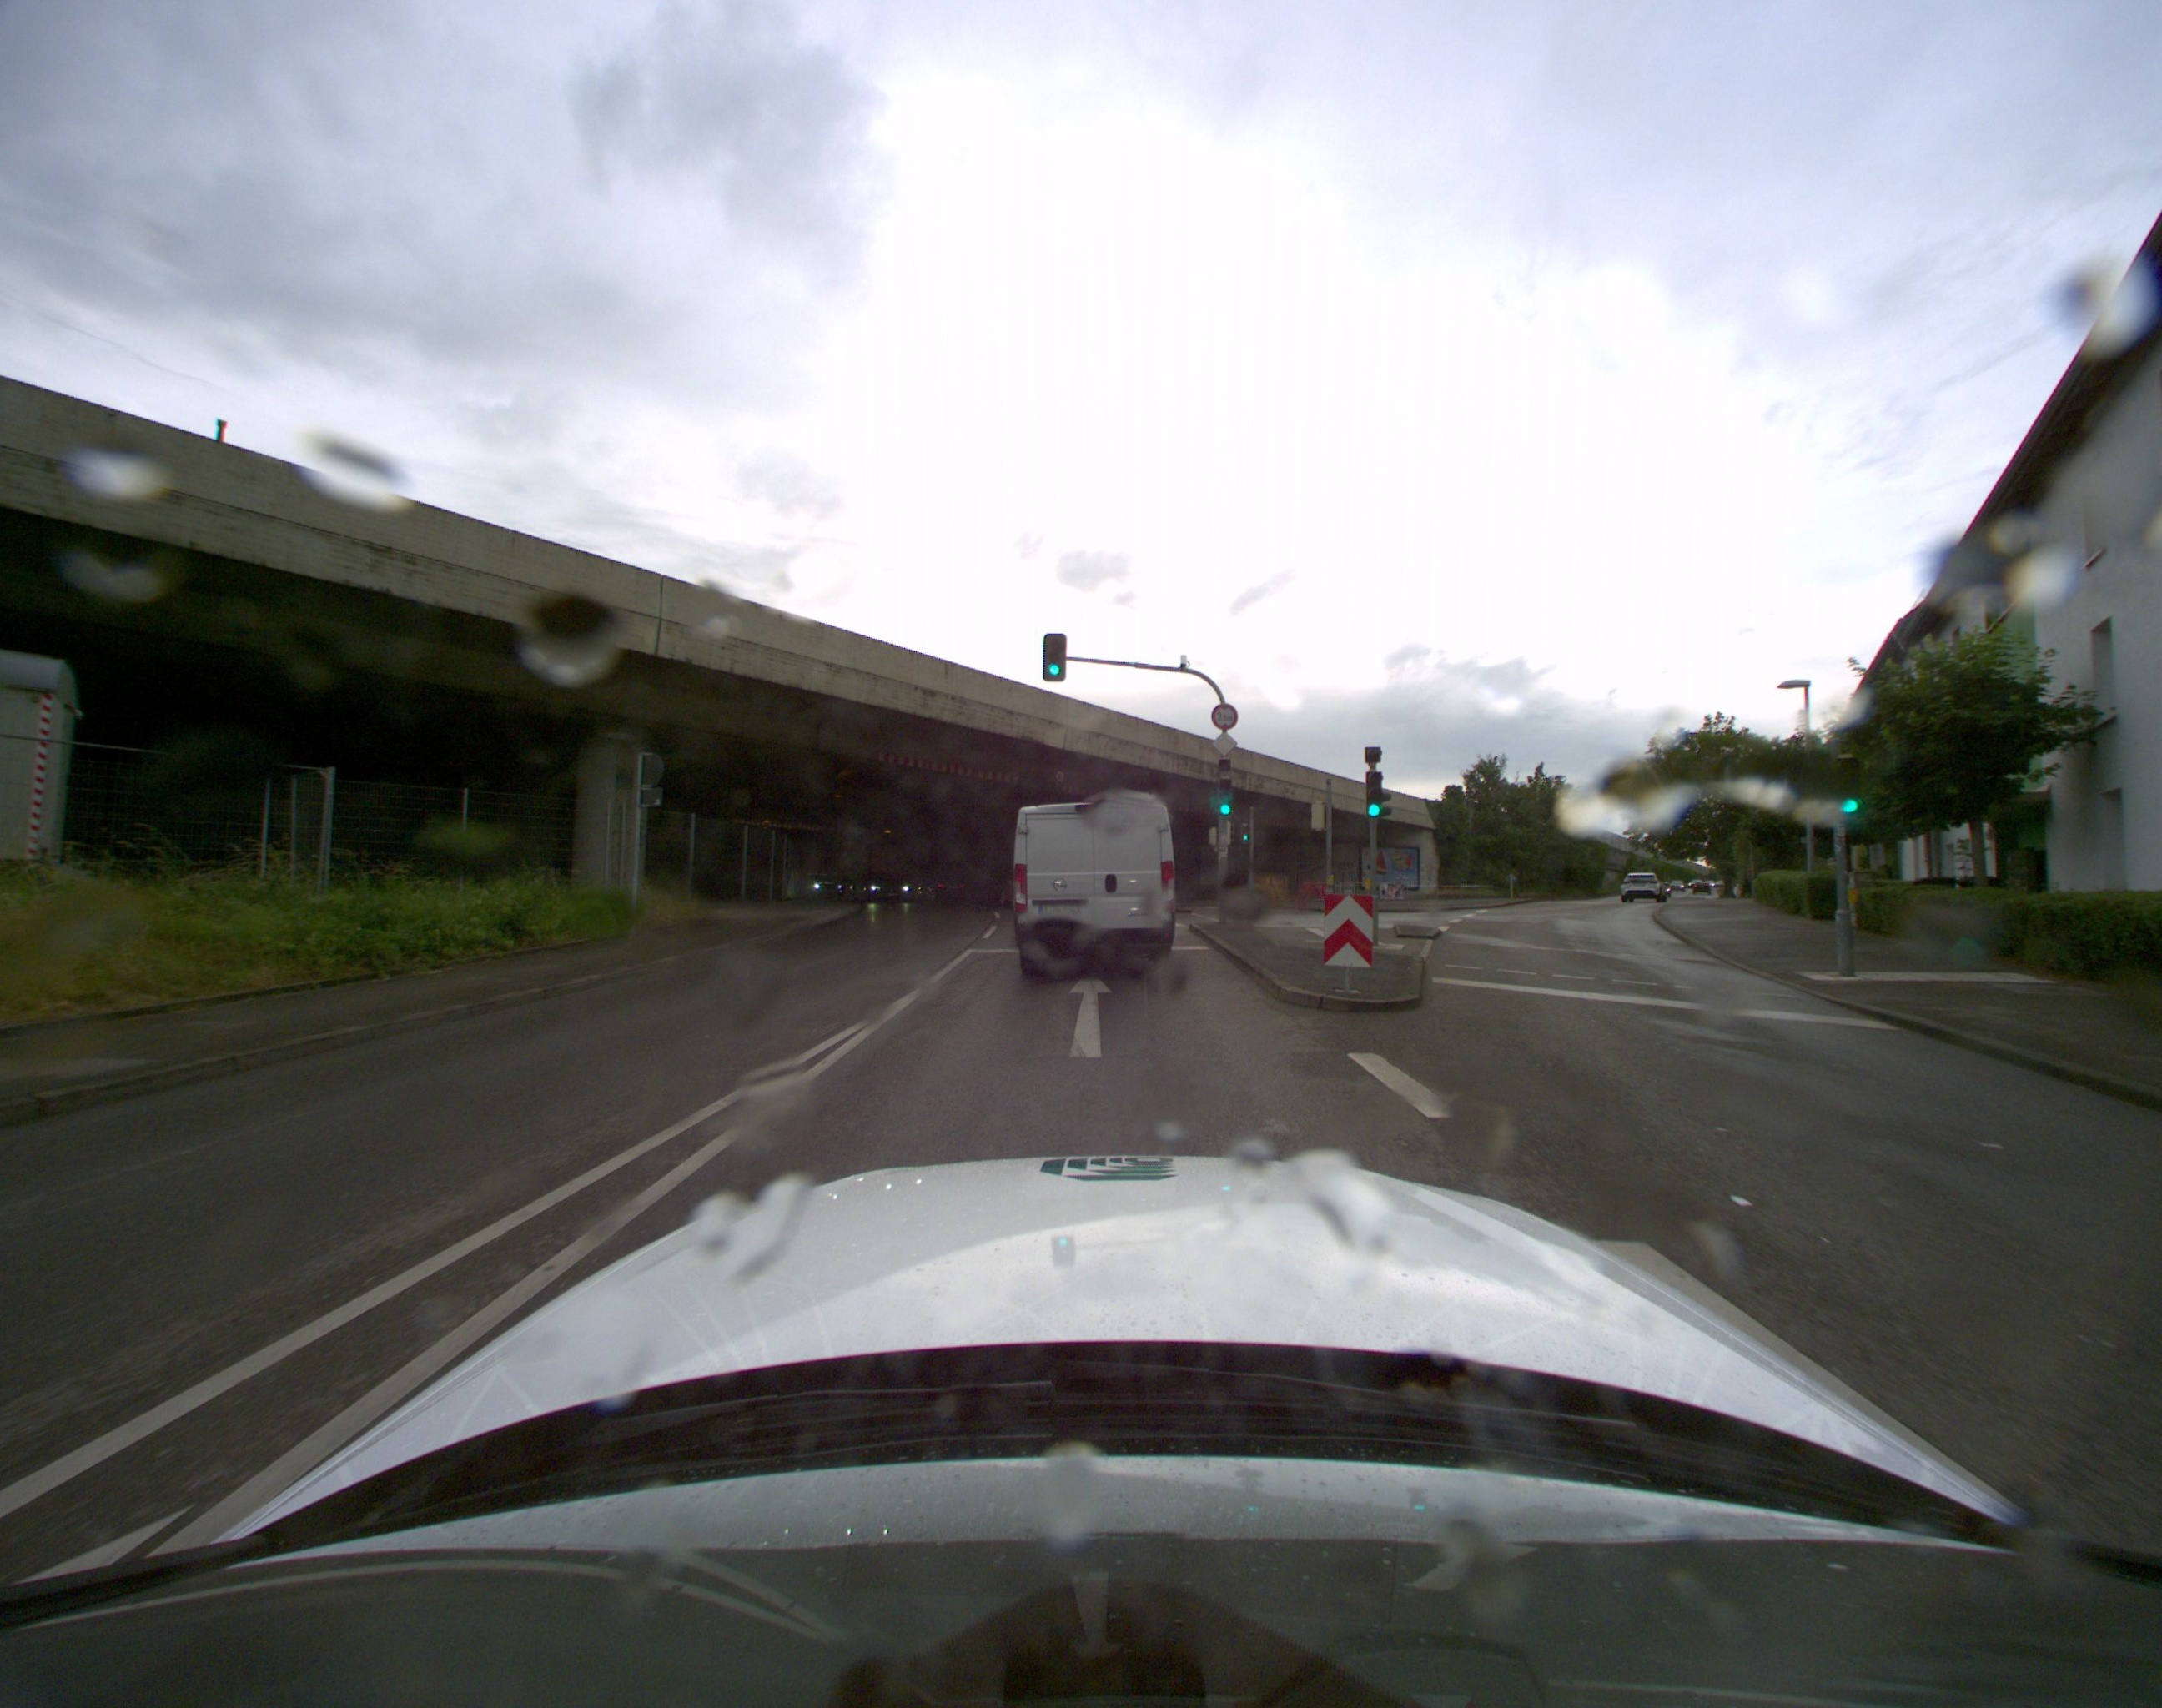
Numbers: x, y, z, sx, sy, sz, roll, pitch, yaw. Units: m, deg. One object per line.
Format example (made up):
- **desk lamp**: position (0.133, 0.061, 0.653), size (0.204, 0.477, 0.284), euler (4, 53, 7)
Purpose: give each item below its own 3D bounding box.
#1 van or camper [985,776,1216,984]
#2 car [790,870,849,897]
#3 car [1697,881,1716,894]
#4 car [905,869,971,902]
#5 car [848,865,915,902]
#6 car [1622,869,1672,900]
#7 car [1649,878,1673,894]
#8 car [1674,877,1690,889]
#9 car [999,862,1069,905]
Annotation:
- **van or camper**: position (0.307, 0.322, 12.041), size (2.688, 2.417, 4.905), euler (1, -1, 1)
- **car**: position (-15.002, 1.705, 46.612), size (2.008, 1.465, 4.060), euler (2, -3, -36)
- **car**: position (77.912, 4.137, 101.517), size (1.857, 1.530, 4.025), euler (0, -1, 37)
- **car**: position (-7.617, 1.632, 43.094), size (2.006, 1.530, 4.276), euler (2, 0, -31)
- **car**: position (-9.527, 1.354, 38.613), size (2.005, 1.530, 4.459), euler (2, 0, -28)
- **car**: position (29.974, 1.591, 43.107), size (1.857, 1.530, 4.025), euler (0, -1, 40)
- **car**: position (60.410, 3.399, 84.896), size (1.747, 1.580, 4.260), euler (-3, -4, 32)
- **car**: position (85.246, 4.134, 115.486), size (1.857, 1.530, 4.025), euler (0, -1, 37)
- **car**: position (-1.754, 1.071, 29.352), size (1.838, 1.439, 4.083), euler (1, -2, -13)
